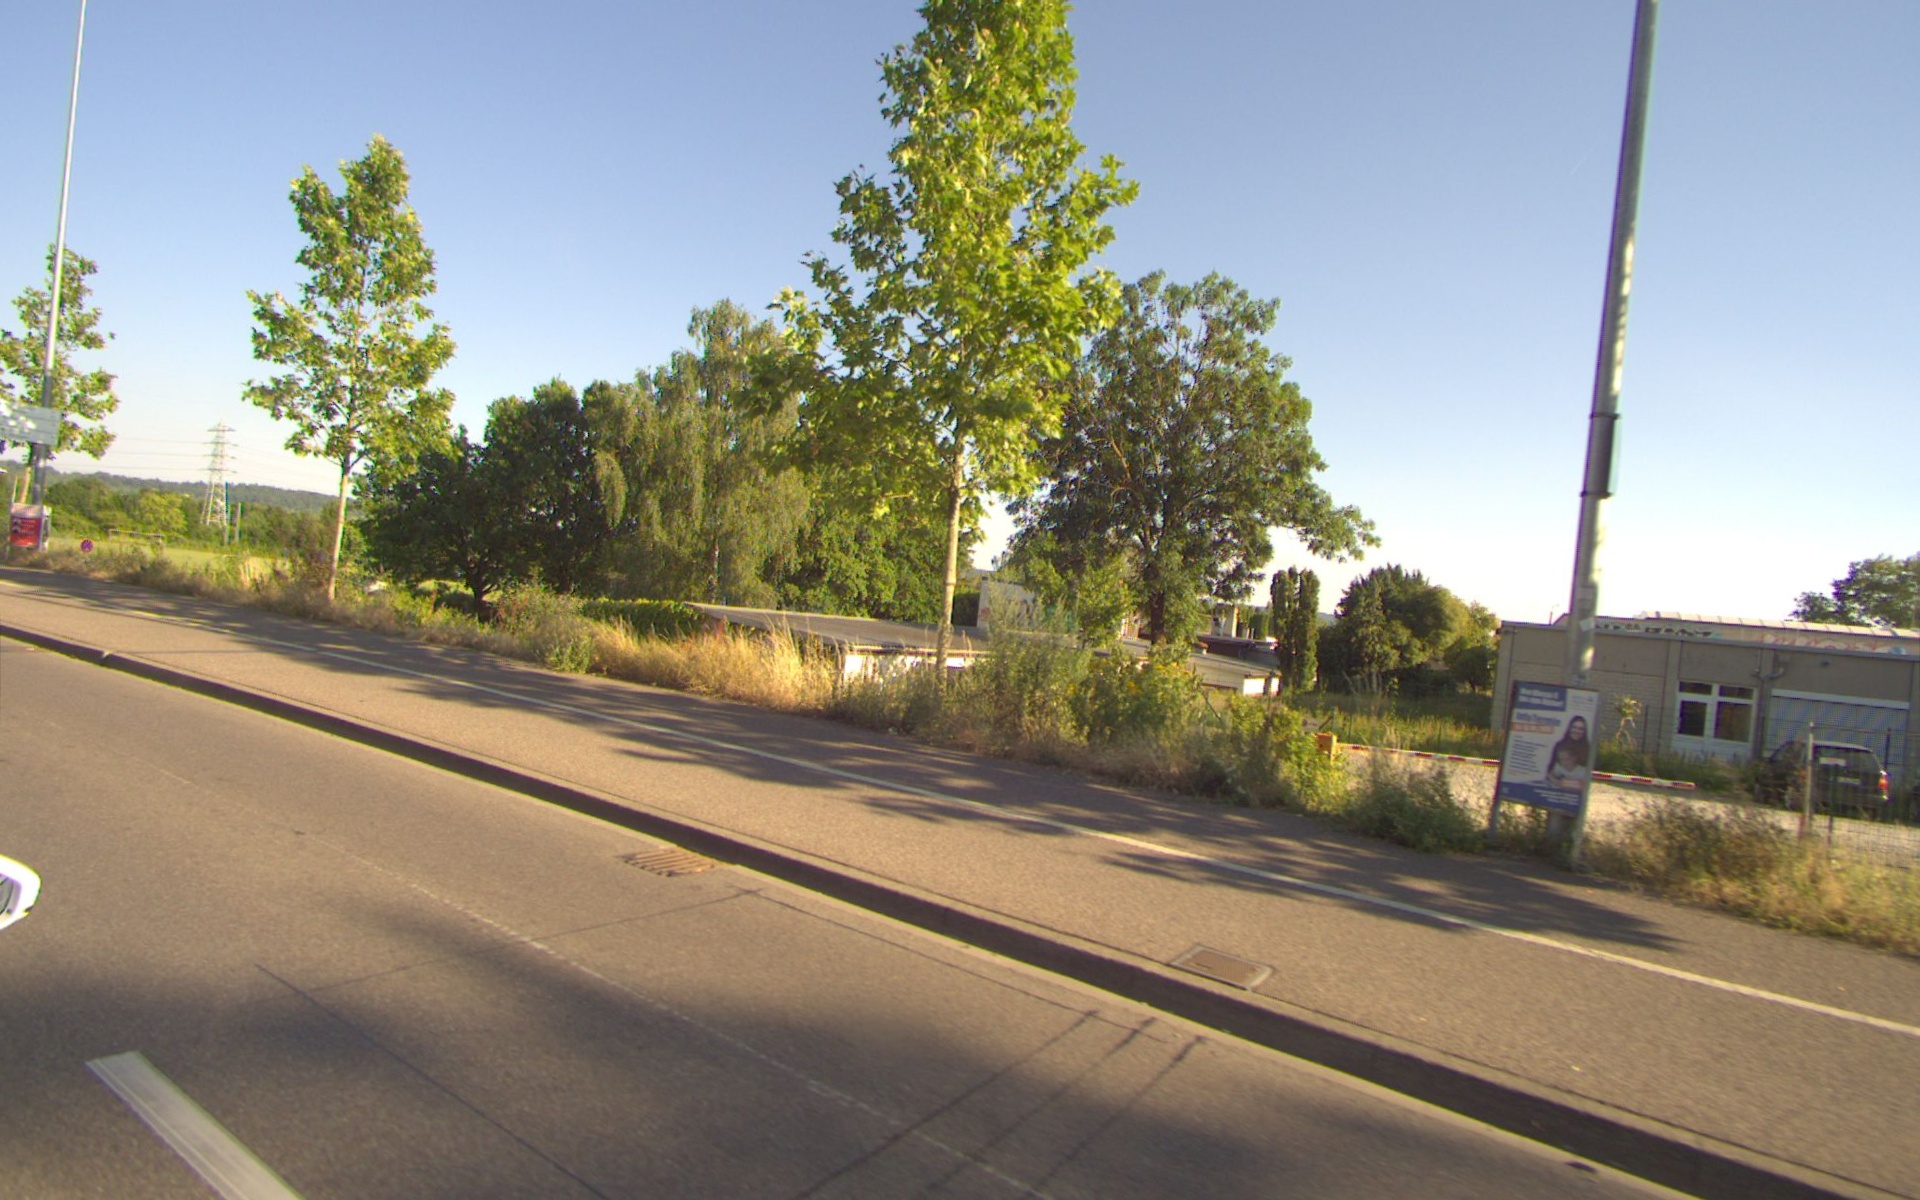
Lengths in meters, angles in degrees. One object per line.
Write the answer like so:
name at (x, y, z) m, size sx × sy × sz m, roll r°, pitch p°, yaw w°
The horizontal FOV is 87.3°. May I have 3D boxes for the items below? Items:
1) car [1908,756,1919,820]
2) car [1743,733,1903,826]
car at (22.213, 4.264, 21.433) m, size 1.708 × 1.412 × 3.794 m, roll 4°, pitch -3°, yaw 24°
car at (19.554, 4.009, 22.991) m, size 1.698 × 1.574 × 3.794 m, roll 4°, pitch -3°, yaw 24°
